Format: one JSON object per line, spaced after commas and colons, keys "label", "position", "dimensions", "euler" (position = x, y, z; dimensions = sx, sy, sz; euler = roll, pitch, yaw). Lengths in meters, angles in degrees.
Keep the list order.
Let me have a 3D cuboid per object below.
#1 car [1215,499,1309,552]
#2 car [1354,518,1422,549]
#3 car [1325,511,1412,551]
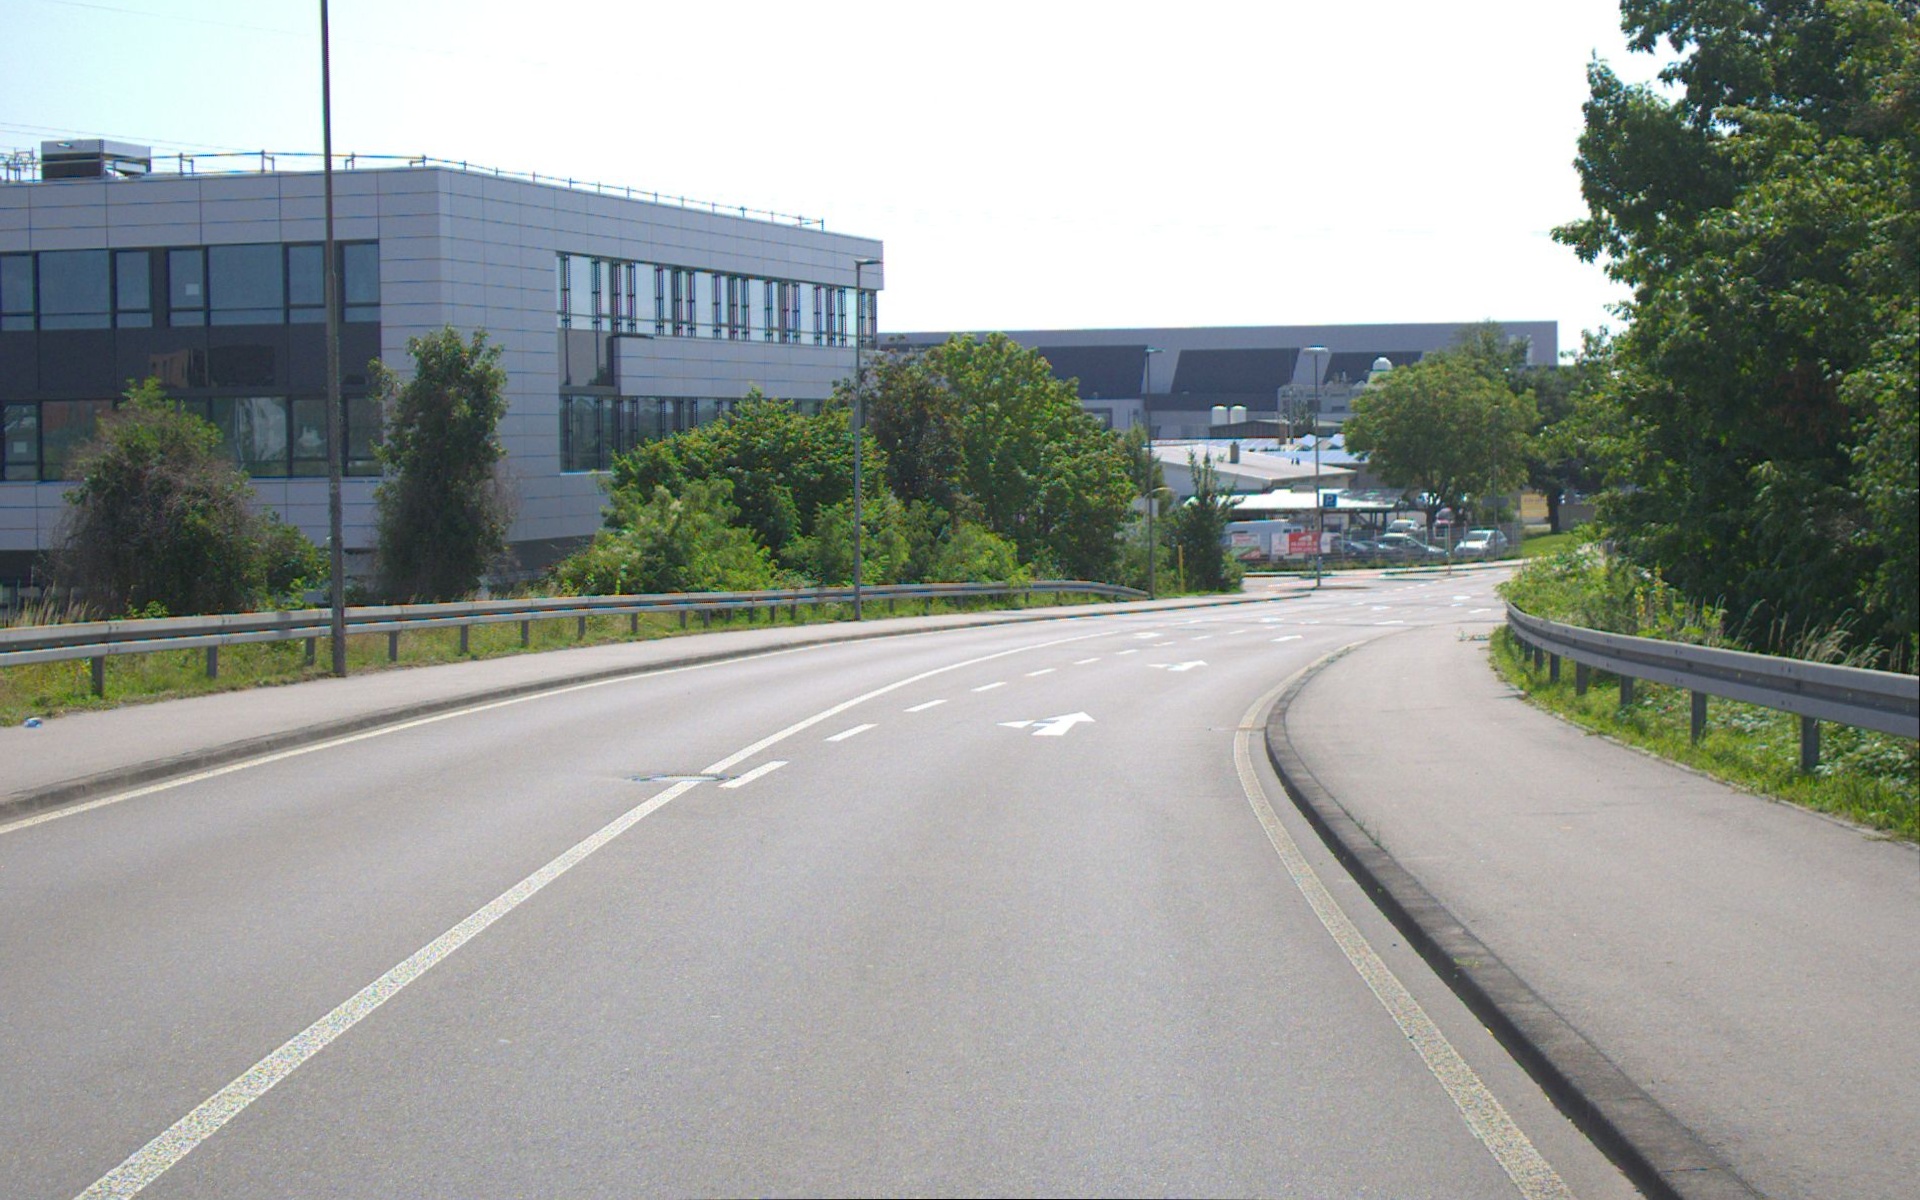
{"label": "car", "position": [15.045, -3.745, 171.415], "dimensions": [4.363, 2.599, 1.995], "euler": [2, 2, 45]}
{"label": "car", "position": [25.869, -4.047, 207.929], "dimensions": [3.988, 1.844, 1.834], "euler": [0, 2, 6]}
{"label": "car", "position": [20.970, -3.572, 176.579], "dimensions": [3.997, 1.897, 1.995], "euler": [3, 5, 43]}
